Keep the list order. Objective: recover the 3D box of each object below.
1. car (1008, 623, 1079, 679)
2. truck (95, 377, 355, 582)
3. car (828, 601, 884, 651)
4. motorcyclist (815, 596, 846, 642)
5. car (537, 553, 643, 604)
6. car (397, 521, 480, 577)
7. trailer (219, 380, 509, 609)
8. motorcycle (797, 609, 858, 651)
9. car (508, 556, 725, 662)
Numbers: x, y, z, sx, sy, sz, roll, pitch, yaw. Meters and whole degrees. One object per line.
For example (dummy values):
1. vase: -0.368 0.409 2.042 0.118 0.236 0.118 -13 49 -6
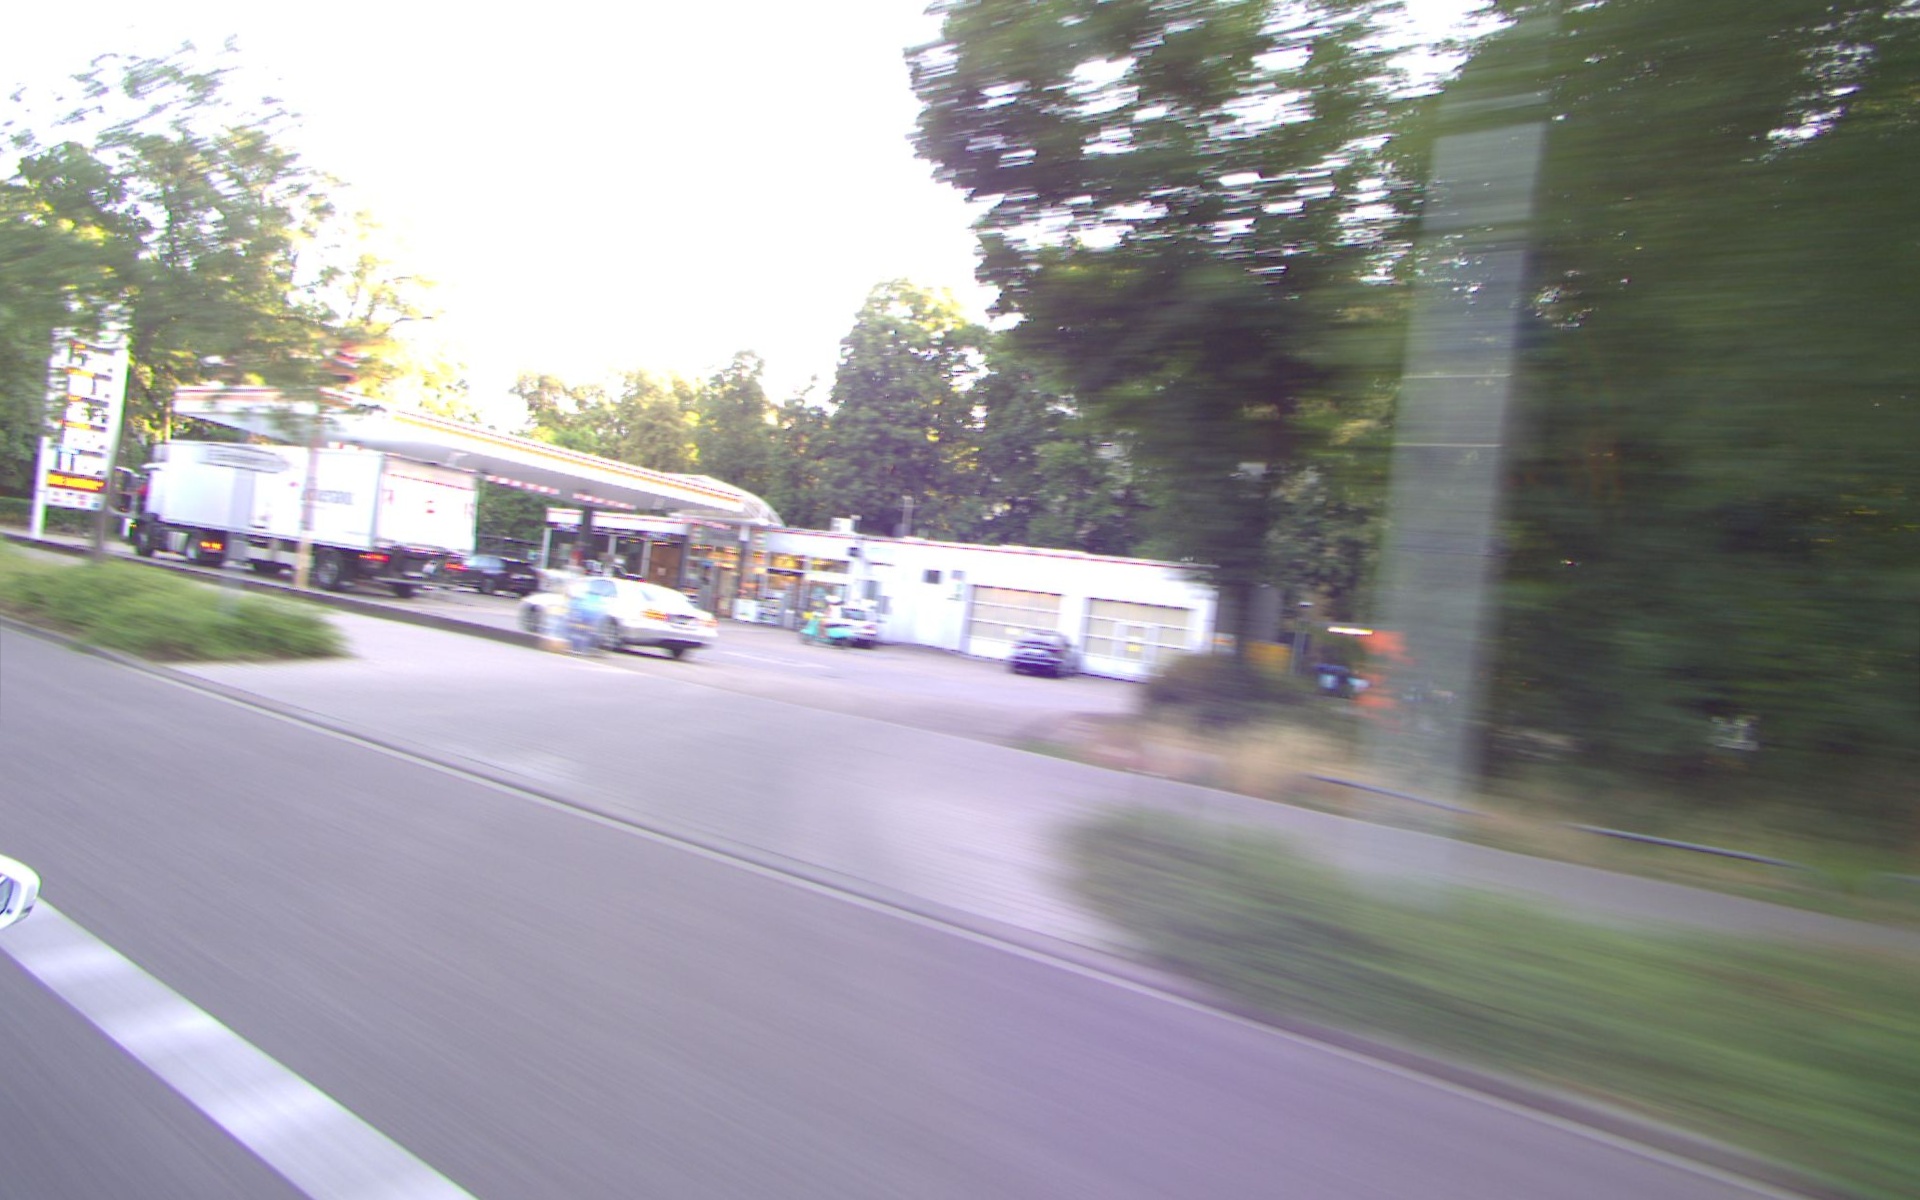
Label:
1. car: 2.770 1.593 32.632 1.641 1.541 4.132 6 0 12
2. truck: -23.599 -3.918 32.194 8.264 5.522 3.039 8 0 29
3. car: -3.775 0.891 36.983 1.642 1.541 4.129 6 0 -2
4. motorcyclist: -4.351 0.658 33.825 0.684 1.452 0.611 6 0 21
5. car: -16.310 -0.971 44.274 4.549 1.601 1.990 7 -2 35
6. car: -27.760 -2.728 53.503 4.549 2.374 1.772 7 -2 35
7. trailer: -16.977 -3.042 28.514 7.797 5.528 3.026 7 0 29
8. motorcycle: -4.457 1.005 33.870 1.829 1.194 0.624 7 0 21
9. car: -7.357 0.151 21.336 4.743 1.601 1.772 7 -2 35
